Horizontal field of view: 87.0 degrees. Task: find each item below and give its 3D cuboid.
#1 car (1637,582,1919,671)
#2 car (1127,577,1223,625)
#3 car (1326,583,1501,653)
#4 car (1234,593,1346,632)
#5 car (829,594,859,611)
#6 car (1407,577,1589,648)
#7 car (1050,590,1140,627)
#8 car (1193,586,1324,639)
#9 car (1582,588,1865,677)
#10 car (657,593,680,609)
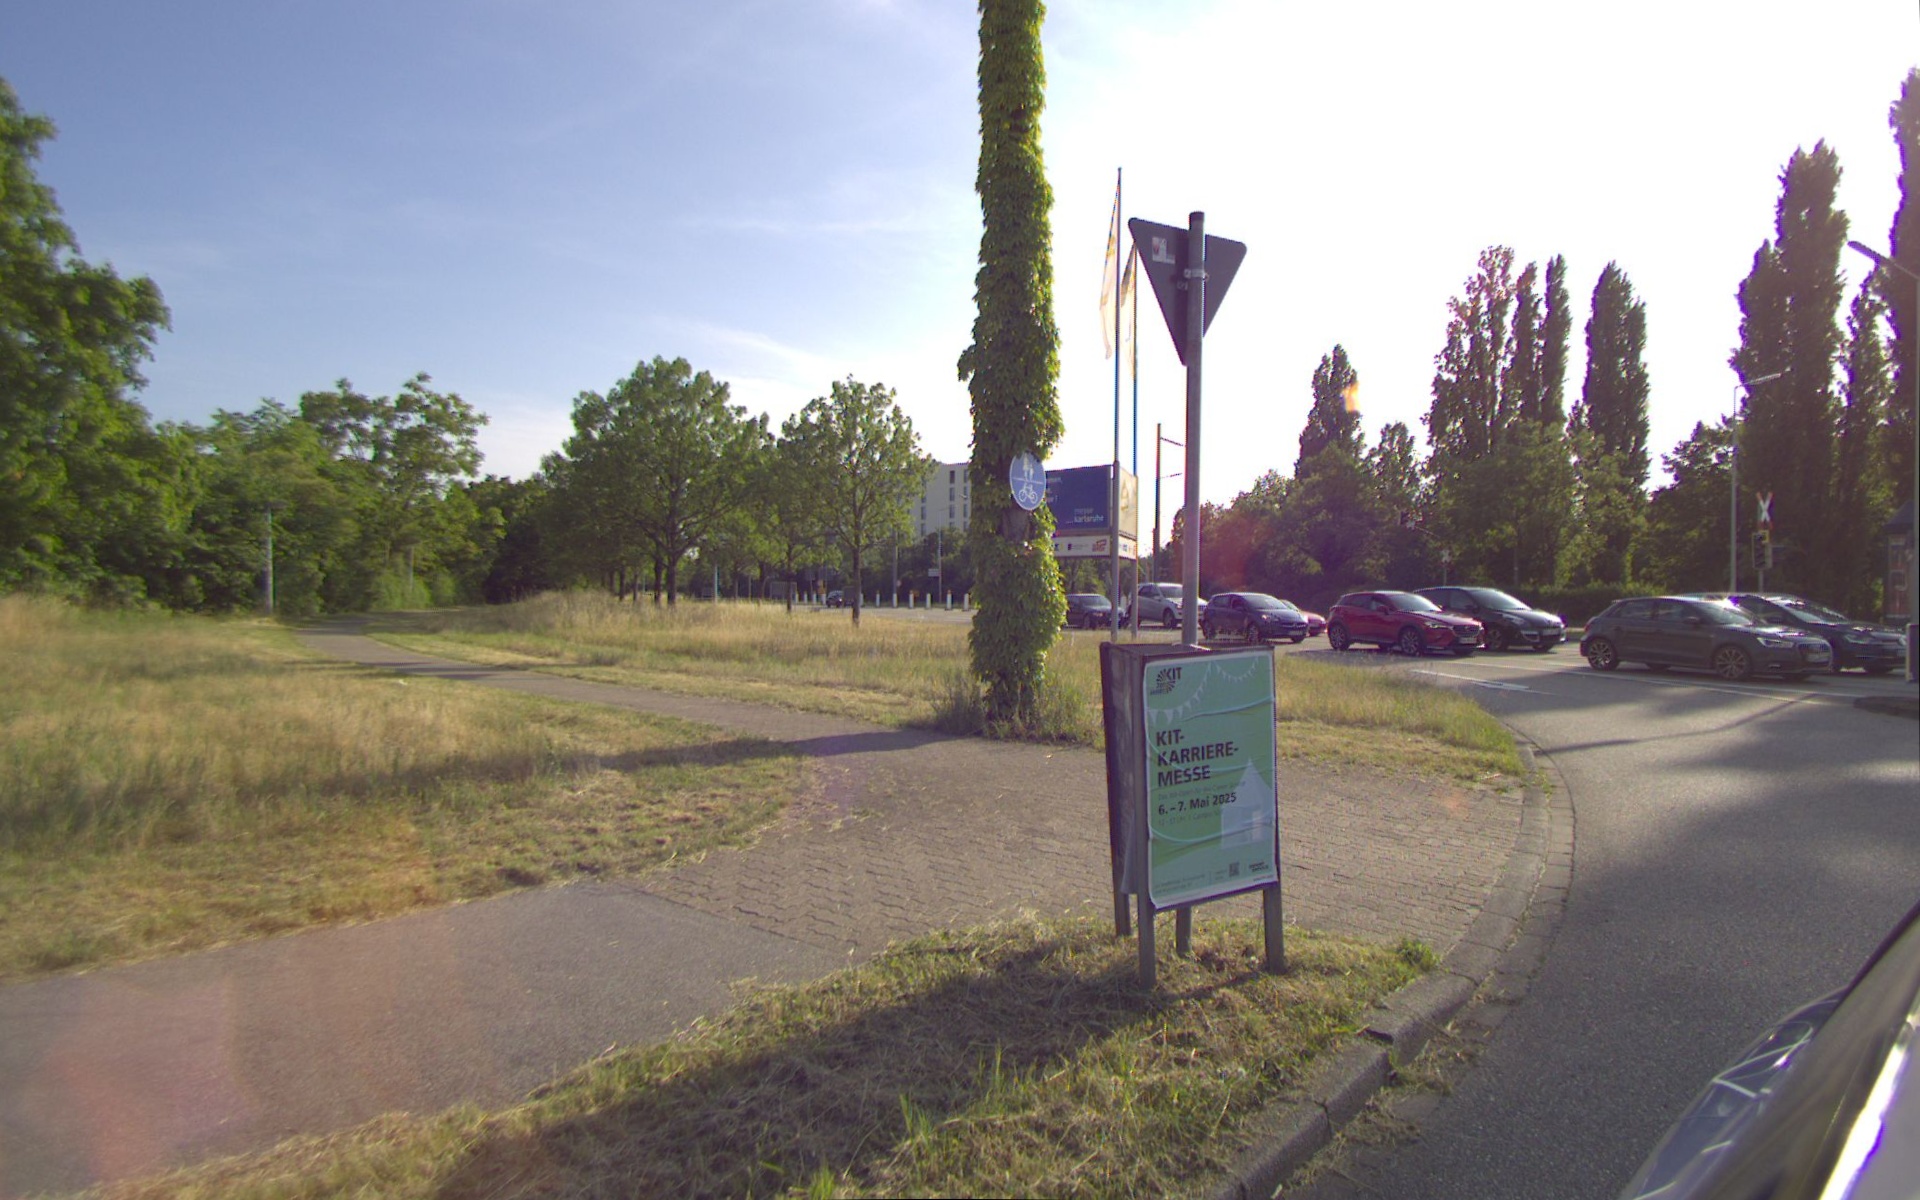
[{"bbox_3d":[15.952,0.426,19.725,1.669,1.527,4.563,0,1,-17],"label":"car"},{"bbox_3d":[8.666,0.012,41.224,1.862,1.846,4.365,-1,1,-18],"label":"car"},{"bbox_3d":[11.037,0.388,24.942,1.676,1.571,3.986,0,0,-19],"label":"car"},{"bbox_3d":[11.227,0.378,34.741,1.700,1.221,3.855,-1,1,-18],"label":"car"},{"bbox_3d":[-10.476,0.195,91.019,1.856,1.474,3.918,1,1,-19],"label":"car"},{"bbox_3d":[13.805,0.281,26.234,1.732,1.692,4.093,0,0,-19],"label":"car"},{"bbox_3d":[5.452,0.300,41.514,1.862,1.403,4.365,-1,1,-19],"label":"car"},{"bbox_3d":[9.049,0.350,31.068,1.710,1.524,4.231,0,0,-19],"label":"car"},{"bbox_3d":[13.496,0.503,18.181,1.612,1.415,3.835,1,0,-16],"label":"car"},{"bbox_3d":[-39.244,0.075,136.240,1.826,2.038,4.180,-1,2,-32],"label":"car"}]
